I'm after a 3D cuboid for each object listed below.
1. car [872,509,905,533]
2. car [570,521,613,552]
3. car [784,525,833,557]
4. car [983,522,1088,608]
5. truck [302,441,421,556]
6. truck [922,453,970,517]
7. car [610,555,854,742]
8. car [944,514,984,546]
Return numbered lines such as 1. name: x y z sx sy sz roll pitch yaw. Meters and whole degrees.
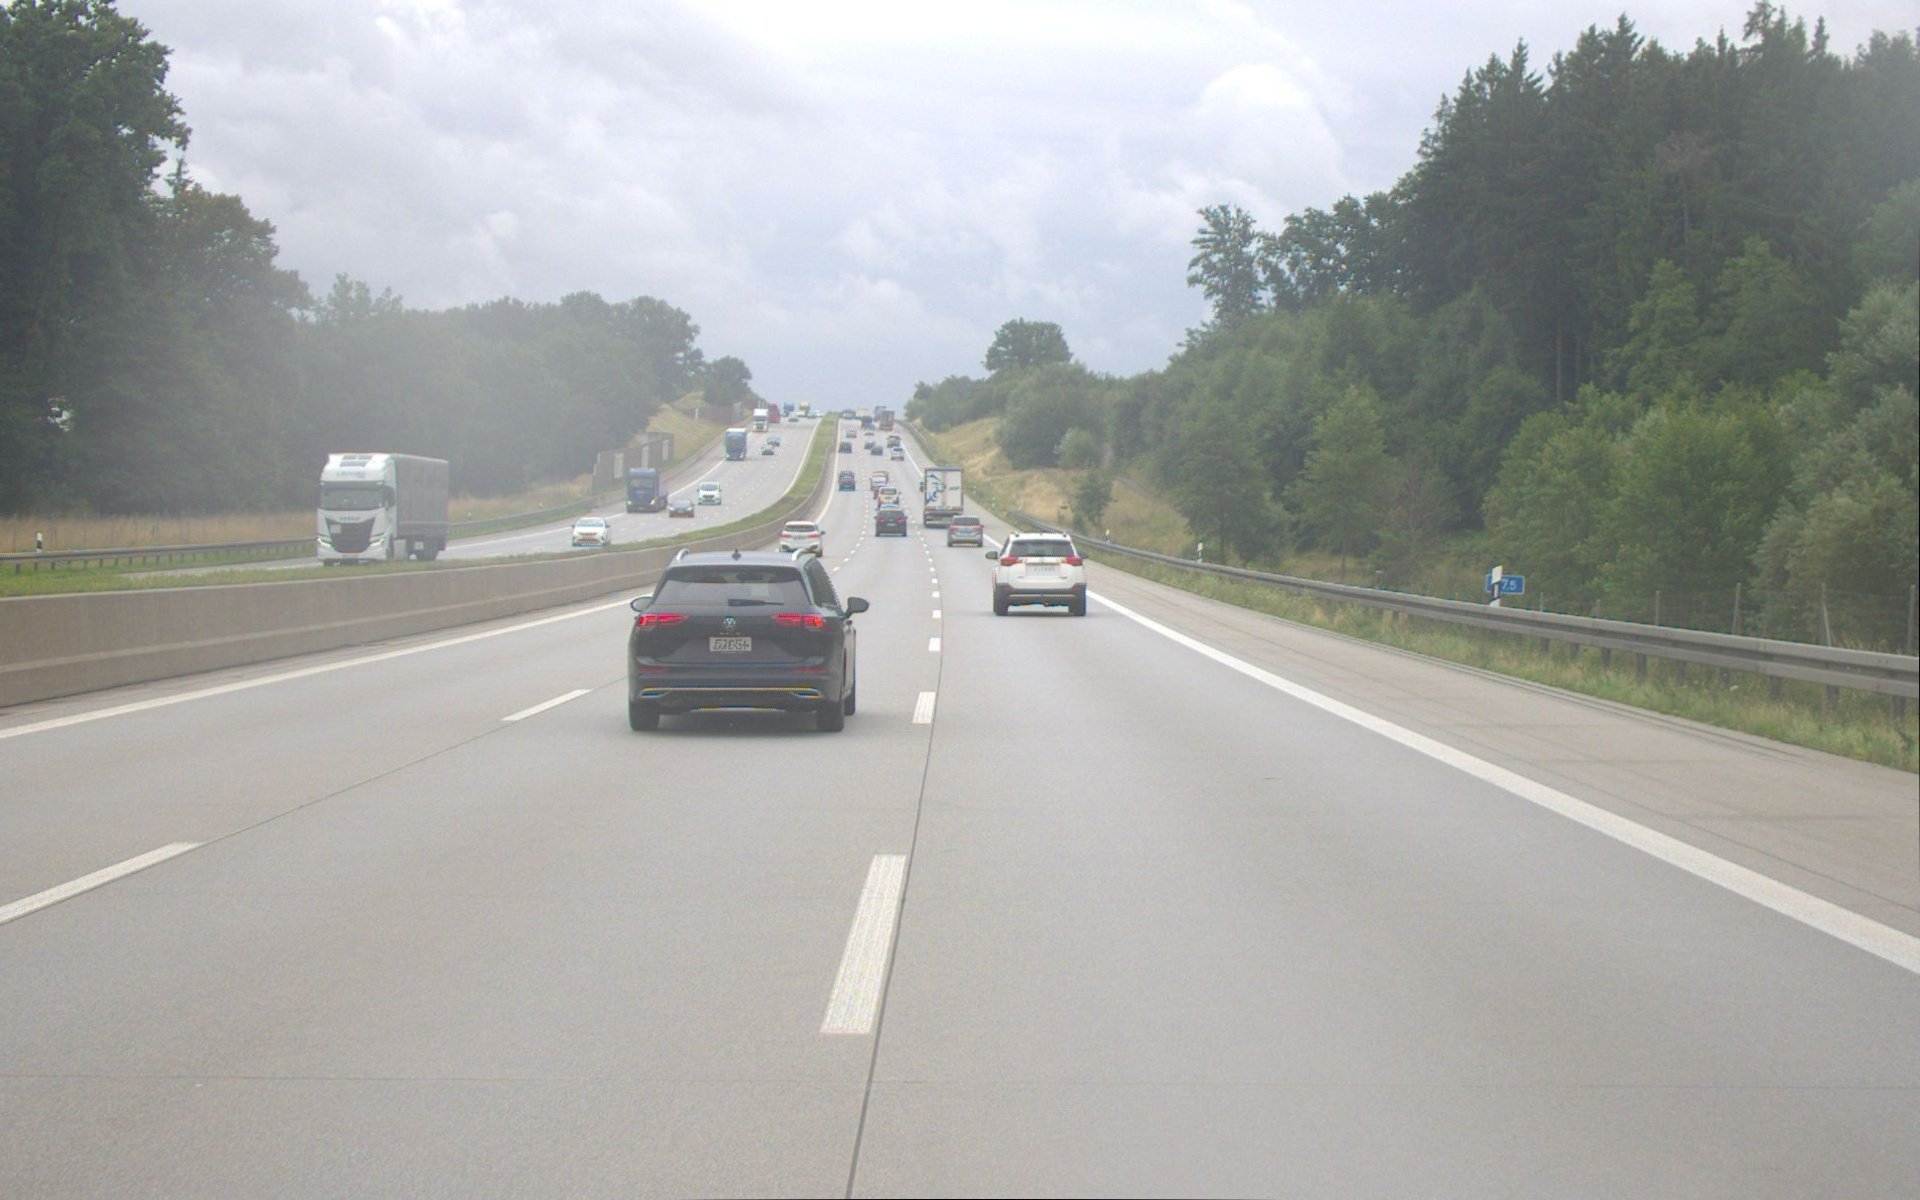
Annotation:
1. car: -4.279 -4.759 206.911 1.935 1.370 4.595 1 2 -1
2. car: -18.575 -3.229 173.404 1.783 1.463 4.372 0 2 -1
3. car: -6.541 -2.562 148.760 1.947 1.351 4.260 0 1 0
4. car: 1.489 -0.723 69.321 1.825 1.650 3.985 1 1 -3
5. truck: -21.946 -3.731 126.376 3.212 4.043 7.166 1 2 -1
6. truck: -0.998 -7.889 234.627 3.017 4.165 8.356 1 3 -2
7. car: -1.825 0.343 28.710 1.752 1.393 4.484 1 1 0
8. car: 0.196 -3.624 177.591 1.993 1.524 4.000 3 1 0
